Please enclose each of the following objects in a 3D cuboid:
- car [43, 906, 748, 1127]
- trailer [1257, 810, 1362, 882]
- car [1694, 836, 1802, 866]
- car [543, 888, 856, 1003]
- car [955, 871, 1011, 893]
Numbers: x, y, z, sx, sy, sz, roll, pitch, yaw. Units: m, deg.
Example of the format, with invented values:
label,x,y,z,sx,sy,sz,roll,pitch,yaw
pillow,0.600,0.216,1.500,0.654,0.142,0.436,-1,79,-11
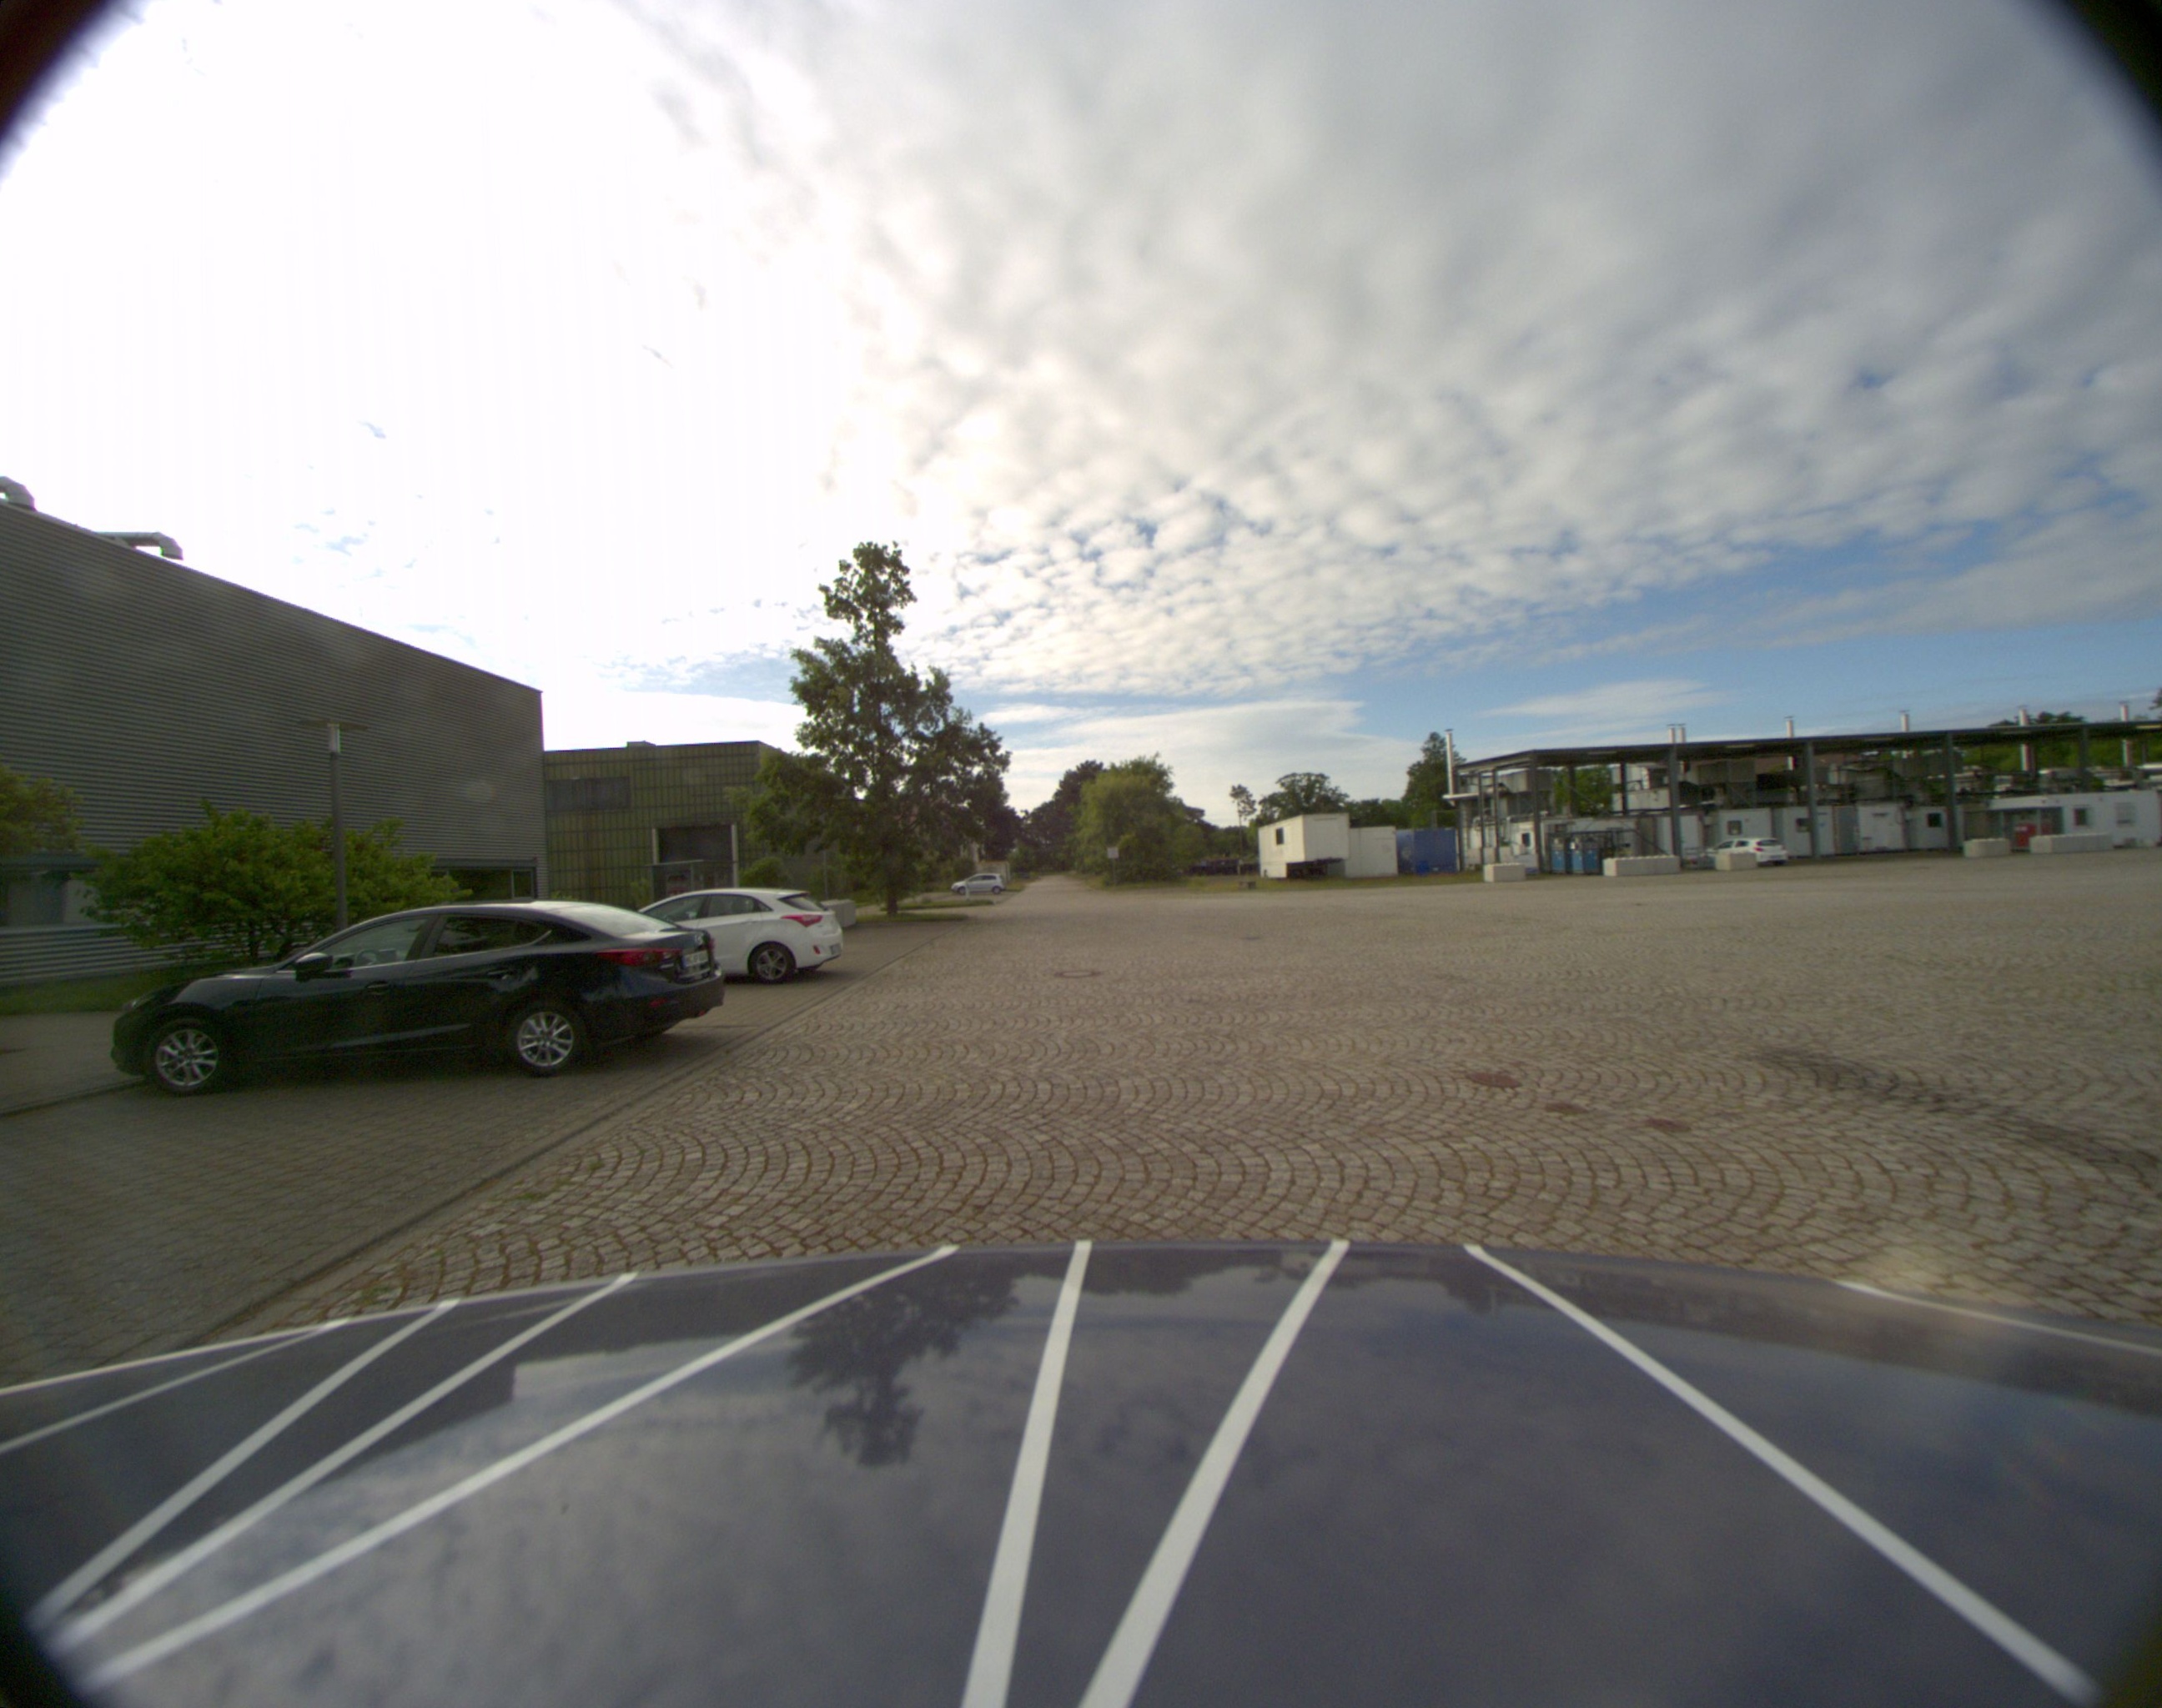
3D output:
label,x,y,z,sx,sy,sz,roll,pitch,yaw
car,-5.694,1.310,6.855,4.476,1.438,1.944,-2,0,-2
trailer,13.250,-0.343,45.287,2.876,3.640,10.779,-3,-1,0
car,34.750,-0.131,39.726,1.933,1.464,3.999,-1,0,-4
car,-5.885,1.384,12.135,3.986,1.457,1.882,-2,-1,-2
car,-7.487,2.131,58.222,4.133,1.615,1.938,-1,0,-4
